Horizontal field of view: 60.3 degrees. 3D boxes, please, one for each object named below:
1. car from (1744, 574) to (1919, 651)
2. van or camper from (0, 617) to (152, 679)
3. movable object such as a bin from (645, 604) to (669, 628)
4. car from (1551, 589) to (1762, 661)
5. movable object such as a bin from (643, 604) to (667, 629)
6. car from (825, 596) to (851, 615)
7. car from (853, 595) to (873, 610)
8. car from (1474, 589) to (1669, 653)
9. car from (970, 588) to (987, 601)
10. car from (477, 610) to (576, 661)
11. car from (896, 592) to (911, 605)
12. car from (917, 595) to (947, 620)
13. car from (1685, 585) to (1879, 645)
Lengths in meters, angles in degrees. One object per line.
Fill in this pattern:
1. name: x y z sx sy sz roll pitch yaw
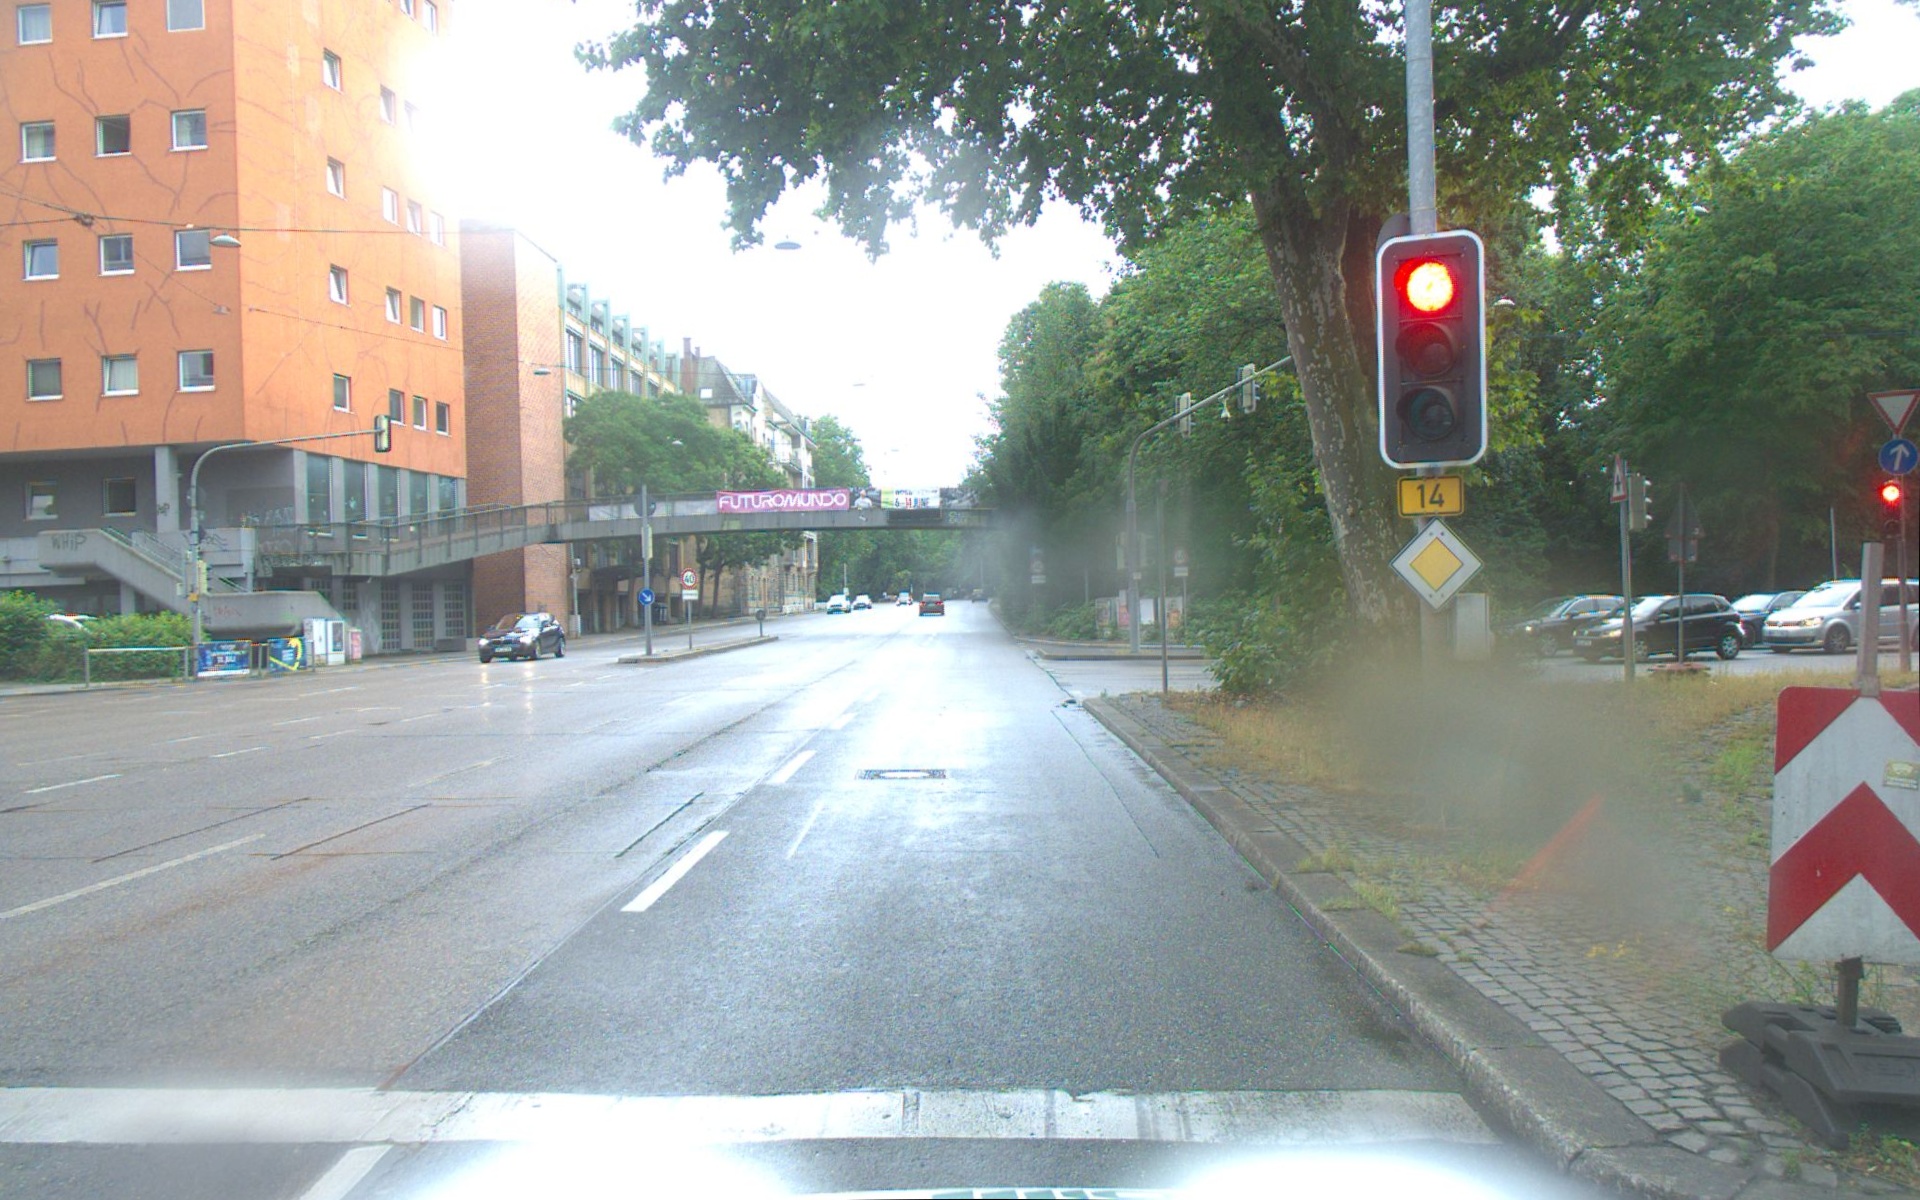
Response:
1. car: 20.656 0.301 38.535 4.129 1.709 1.898 1 0 -17
2. van or camper: -25.701 1.383 47.627 3.902 1.656 1.915 -1 0 5
3. movable object such as a bin: -19.828 1.022 108.244 1.272 1.545 1.214 -1 0 1
4. car: 15.371 0.547 36.527 4.119 1.486 1.785 1 0 -17
5. movable object such as a bin: -19.690 1.043 106.816 1.256 1.545 1.273 -1 0 1
6. car: -10.899 0.459 148.181 1.850 1.638 4.457 -1 0 2
7. car: -10.225 0.264 174.363 1.673 1.490 4.042 -2 0 2
8. car: 14.878 0.515 40.282 4.131 1.466 1.941 1 0 -17
9. car: 2.066 -0.626 186.785 1.805 1.478 3.776 1 0 -1
10. car: -13.223 1.068 50.688 1.650 1.444 4.216 -2 -1 3
11. car: -6.726 -0.192 196.408 1.648 1.461 3.862 -2 0 0
12. car: -2.011 0.503 116.417 1.964 1.672 4.374 -1 0 -2
13. car: 20.818 0.375 41.935 4.361 1.427 1.821 1 0 -17
